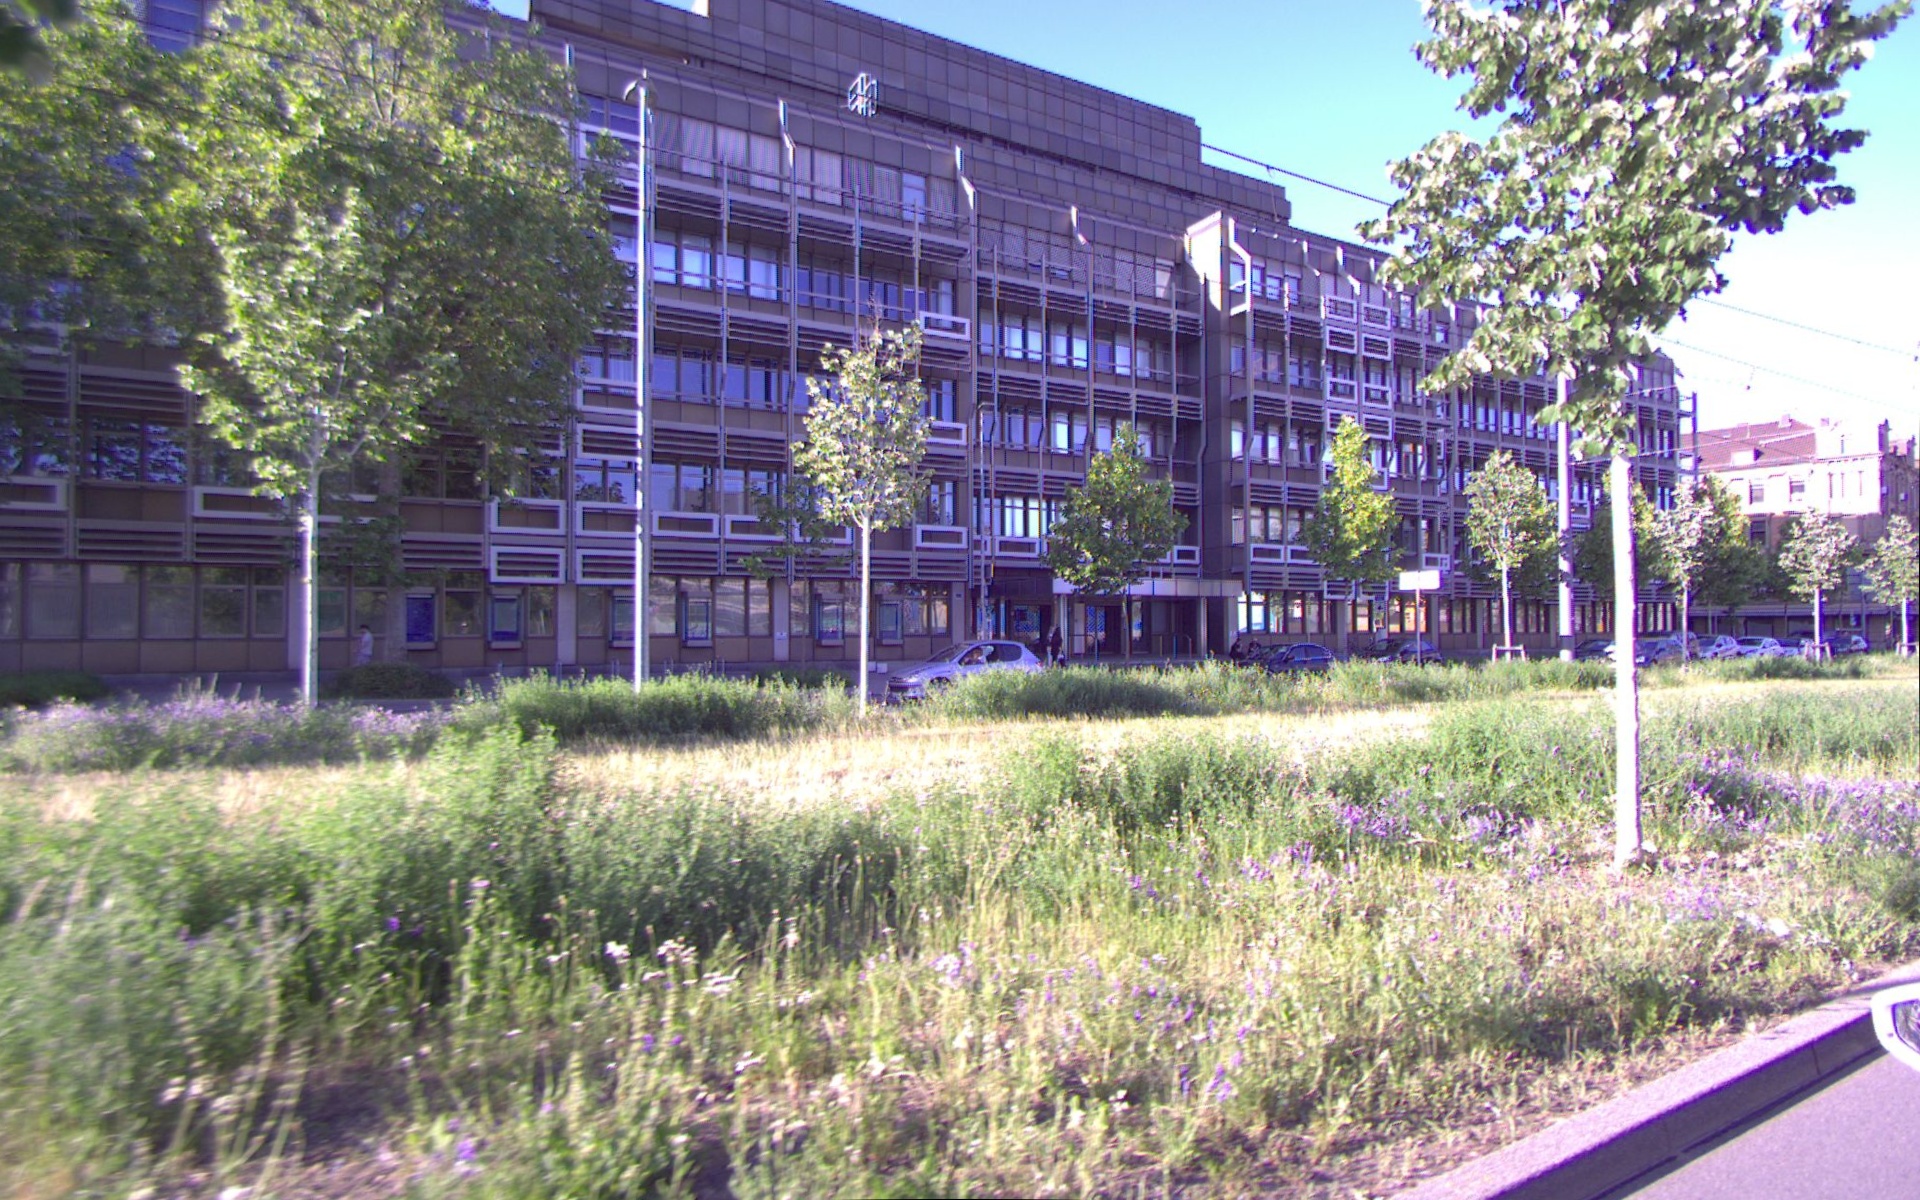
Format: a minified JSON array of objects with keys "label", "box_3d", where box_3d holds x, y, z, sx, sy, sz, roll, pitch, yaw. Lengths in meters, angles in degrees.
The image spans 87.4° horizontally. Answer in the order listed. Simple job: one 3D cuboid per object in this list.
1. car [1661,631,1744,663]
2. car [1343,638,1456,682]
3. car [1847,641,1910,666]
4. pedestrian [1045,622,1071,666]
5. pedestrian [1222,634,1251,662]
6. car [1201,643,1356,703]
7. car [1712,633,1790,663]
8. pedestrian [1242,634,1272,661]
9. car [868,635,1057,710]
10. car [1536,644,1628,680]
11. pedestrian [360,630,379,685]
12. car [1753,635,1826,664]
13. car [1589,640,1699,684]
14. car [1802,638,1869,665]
[{"label":"car","box_3d":[38.012,2.376,51.422,4.251,1.596,1.895,1,-2,-31]},{"label":"car","box_3d":[17.038,2.281,38.923,4.251,1.596,1.895,1,-2,-31]},{"label":"car","box_3d":[60.692,3.502,66.338,4.251,1.596,1.895,1,-2,-31]},{"label":"pedestrian","box_3d":[3.489,1.556,35.656,0.642,1.552,0.661,1,-2,-30]},{"label":"pedestrian","box_3d":[12.155,2.103,44.157,0.855,1.184,0.896,1,-2,-30]},{"label":"car","box_3d":[9.320,2.070,29.334,4.359,1.596,1.895,1,-2,-31]},{"label":"car","box_3d":[42.942,2.573,54.513,4.251,1.596,1.895,1,-2,-31]},{"label":"pedestrian","box_3d":[13.200,2.109,44.671,0.888,1.184,0.896,1,-2,-29]},{"label":"car","box_3d":[0.075,1.600,23.101,3.953,1.596,1.895,1,-2,-31]},{"label":"car","box_3d":[28.848,2.845,46.569,4.251,1.596,1.895,1,-2,-31]},{"label":"pedestrian","box_3d":[-16.918,1.639,28.779,0.441,1.582,0.407,1,-2,-28]},{"label":"car","box_3d":[47.731,2.832,57.804,4.251,1.596,1.895,1,-2,-31]},{"label":"car","box_3d":[26.720,2.389,39.223,4.251,1.596,1.895,1,-2,-31]},{"label":"car","box_3d":[54.004,3.159,61.953,4.251,1.596,1.895,1,-2,-31]}]
